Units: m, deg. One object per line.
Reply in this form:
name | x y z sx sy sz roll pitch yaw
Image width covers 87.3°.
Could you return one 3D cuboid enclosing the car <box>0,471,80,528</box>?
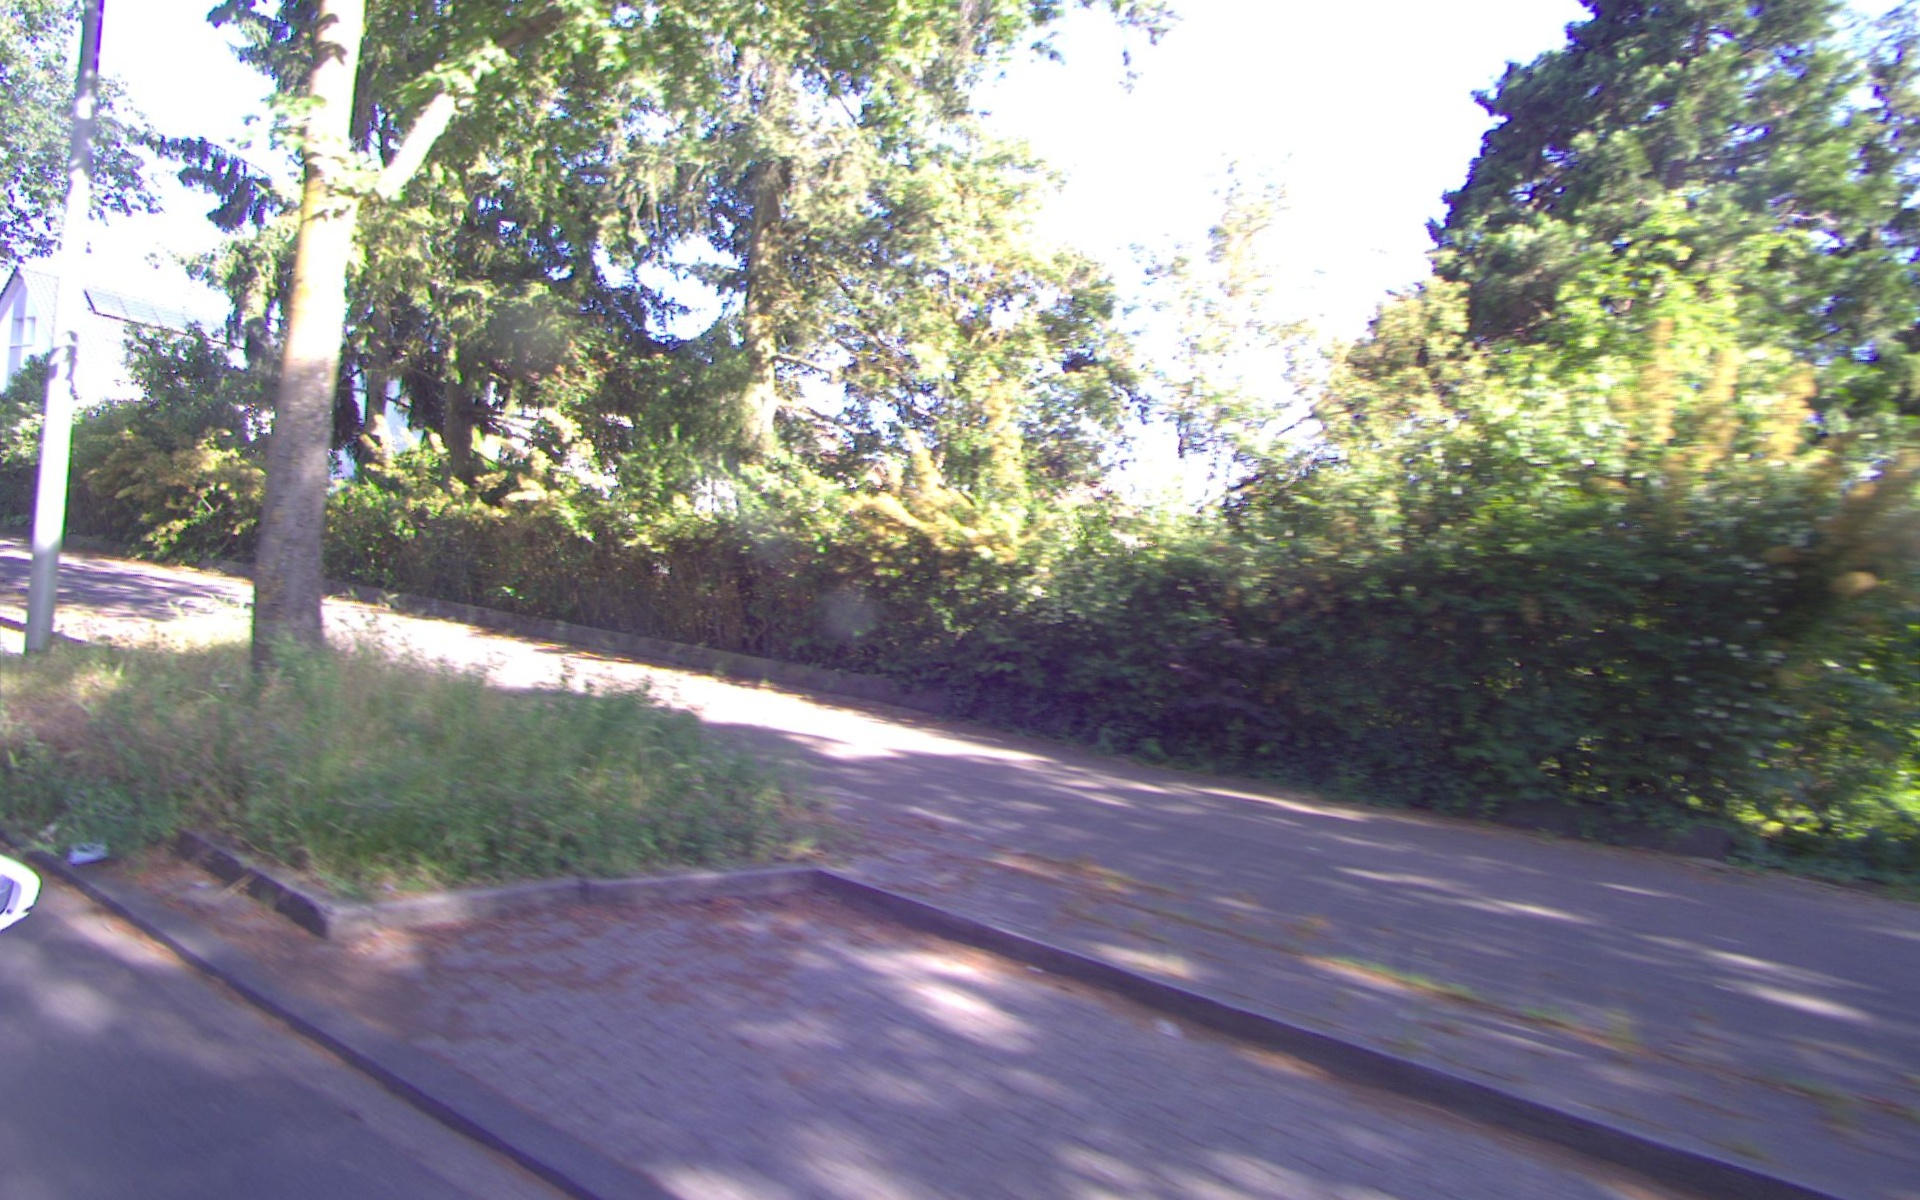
car | -32.078 -3.477 33.324 1.744 1.661 3.995 7 1 25
